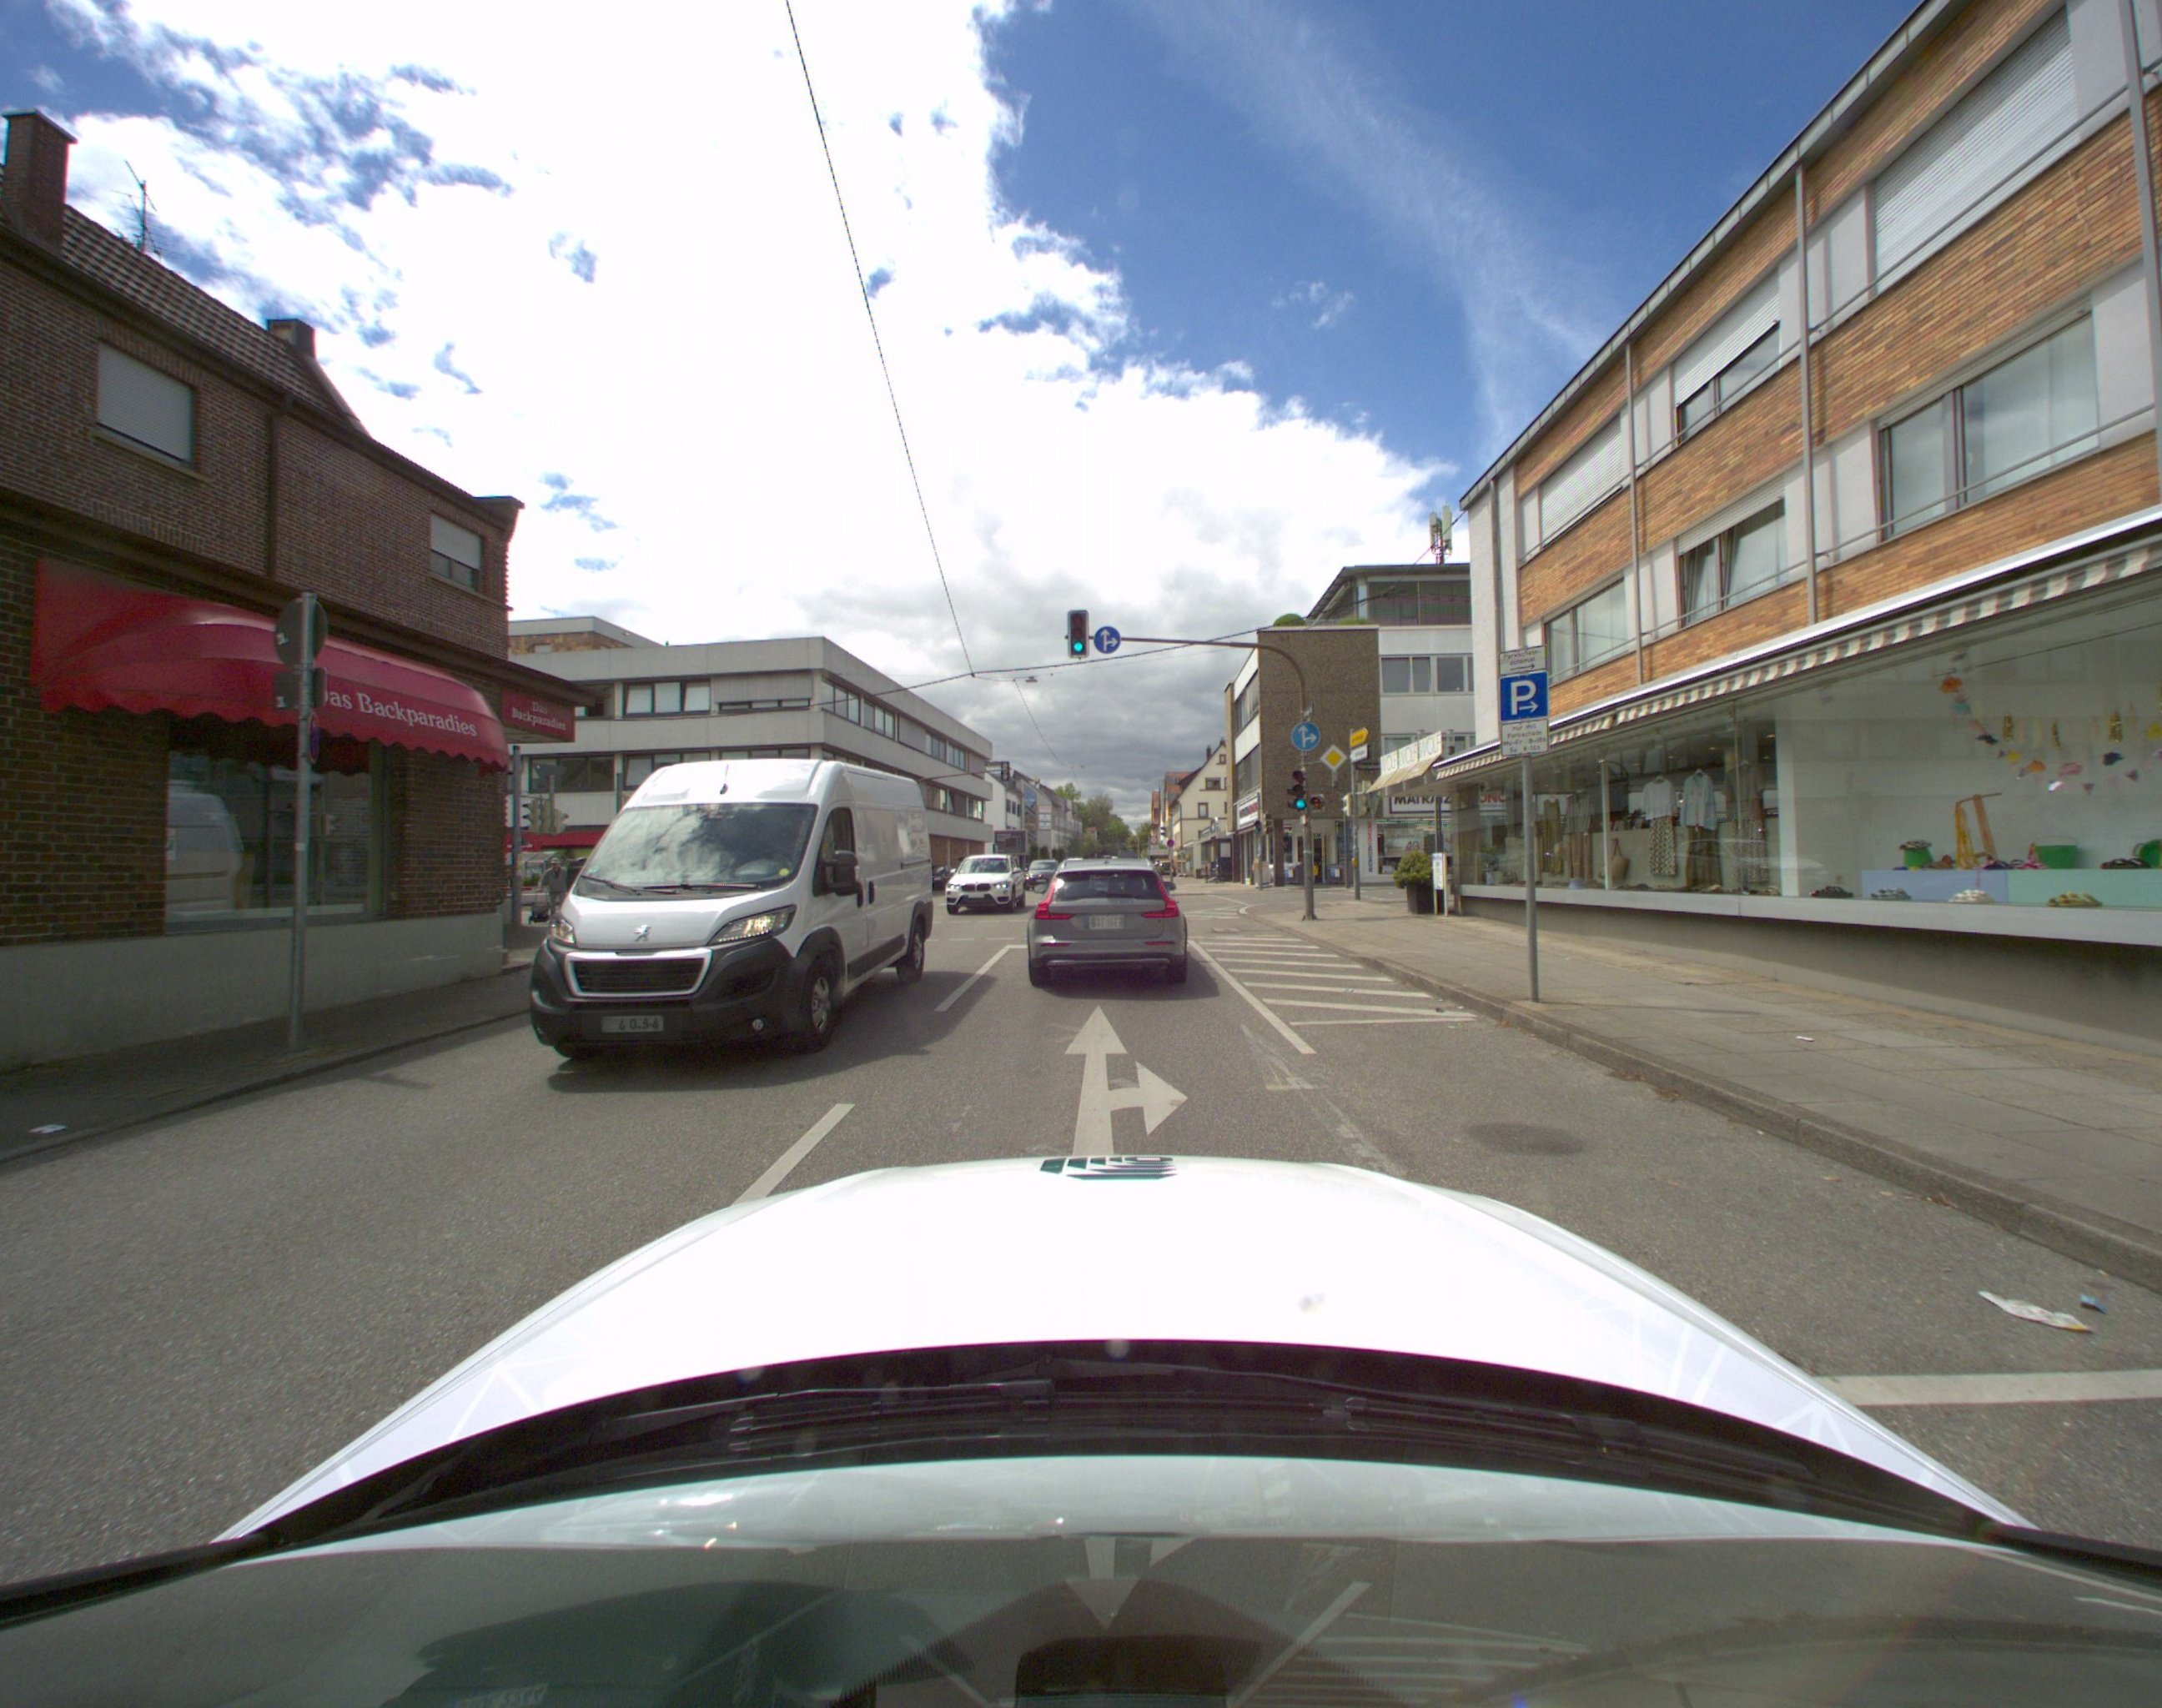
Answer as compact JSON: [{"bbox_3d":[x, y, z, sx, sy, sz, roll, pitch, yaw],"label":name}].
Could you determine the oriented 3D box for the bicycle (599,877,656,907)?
[{"bbox_3d":[-18.853,1.570,33.868,1.880,1.142,0.774,-3,-1,-8],"label":"bicycle"}]

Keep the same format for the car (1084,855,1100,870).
[{"bbox_3d":[1.407,1.115,103.019,1.831,1.917,4.157,0,-1,2],"label":"car"}]

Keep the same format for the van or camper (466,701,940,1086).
[{"bbox_3d":[-3.052,0.262,8.279,2.141,2.556,5.438,-2,0,1],"label":"van or camper"}]

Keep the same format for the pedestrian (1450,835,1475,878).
[{"bbox_3d":[15.747,0.101,33.607,0.582,1.705,0.614,-4,-1,-30],"label":"pedestrian"}]

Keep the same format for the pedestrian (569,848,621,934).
[{"bbox_3d":[-10.378,0.794,17.418,0.623,1.797,0.720,0,-2,0],"label":"pedestrian"}]

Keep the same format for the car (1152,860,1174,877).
[{"bbox_3d":[7.628,1.373,76.100,1.705,1.464,3.999,0,-2,1],"label":"car"}]

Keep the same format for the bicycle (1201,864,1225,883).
[{"bbox_3d":[8.255,1.232,51.102,0.555,1.144,2.288,-2,-1,-15],"label":"bicycle"}]

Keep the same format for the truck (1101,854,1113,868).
[{"bbox_3d":[5.757,1.570,181.026,2.266,2.886,7.085,-2,-1,3],"label":"truck"}]

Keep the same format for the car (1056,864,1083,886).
[{"bbox_3d":[-0.839,1.585,61.636,1.676,1.497,3.970,-3,-1,3],"label":"car"}]

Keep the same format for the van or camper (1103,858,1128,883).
[{"bbox_3d":[2.677,1.300,63.129,1.812,1.835,4.001,-1,-3,2],"label":"van or camper"}]

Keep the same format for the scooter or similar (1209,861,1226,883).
[{"bbox_3d":[8.086,1.063,48.296,0.342,1.253,1.236,-3,-2,-23],"label":"scooter or similar"}]

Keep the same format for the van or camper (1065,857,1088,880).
[{"bbox_3d":[-0.401,1.295,74.235,1.857,1.898,4.695,-1,0,2],"label":"van or camper"}]

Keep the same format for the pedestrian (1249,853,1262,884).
[{"bbox_3d":[8.358,0.682,39.007,0.500,1.459,0.502,-4,-2,15],"label":"pedestrian"}]

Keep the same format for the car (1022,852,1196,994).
[{"bbox_3d":[0.366,0.735,10.672,1.829,1.486,4.002,-1,0,2],"label":"car"}]

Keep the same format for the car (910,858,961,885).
[{"bbox_3d":[-8.465,1.007,47.703,1.776,1.464,4.093,0,-1,6],"label":"car"}]

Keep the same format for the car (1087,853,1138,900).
[{"bbox_3d":[1.083,0.758,28.023,1.644,1.482,3.609,0,-1,2],"label":"car"}]

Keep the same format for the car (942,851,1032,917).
[{"bbox_3d":[-2.594,0.808,23.456,1.773,1.640,4.224,-3,-1,4],"label":"car"}]

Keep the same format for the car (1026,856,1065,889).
[{"bbox_3d":[-1.856,0.969,43.521,1.783,1.589,4.100,-3,-1,1],"label":"car"}]

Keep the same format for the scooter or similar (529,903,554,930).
[{"bbox_3d":[-13.609,1.574,20.552,0.380,0.646,0.803,-2,-1,-25],"label":"scooter or similar"}]

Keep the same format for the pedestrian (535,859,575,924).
[{"bbox_3d":[-13.704,0.963,21.236,0.522,1.659,0.761,0,-2,0],"label":"pedestrian"}]

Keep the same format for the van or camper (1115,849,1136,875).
[{"bbox_3d":[4.791,0.908,88.069,2.114,2.686,4.785,-2,-1,3],"label":"van or camper"}]

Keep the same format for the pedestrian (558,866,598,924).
[{"bbox_3d":[-13.100,1.064,21.237,0.522,1.485,0.761,0,-2,0],"label":"pedestrian"}]
